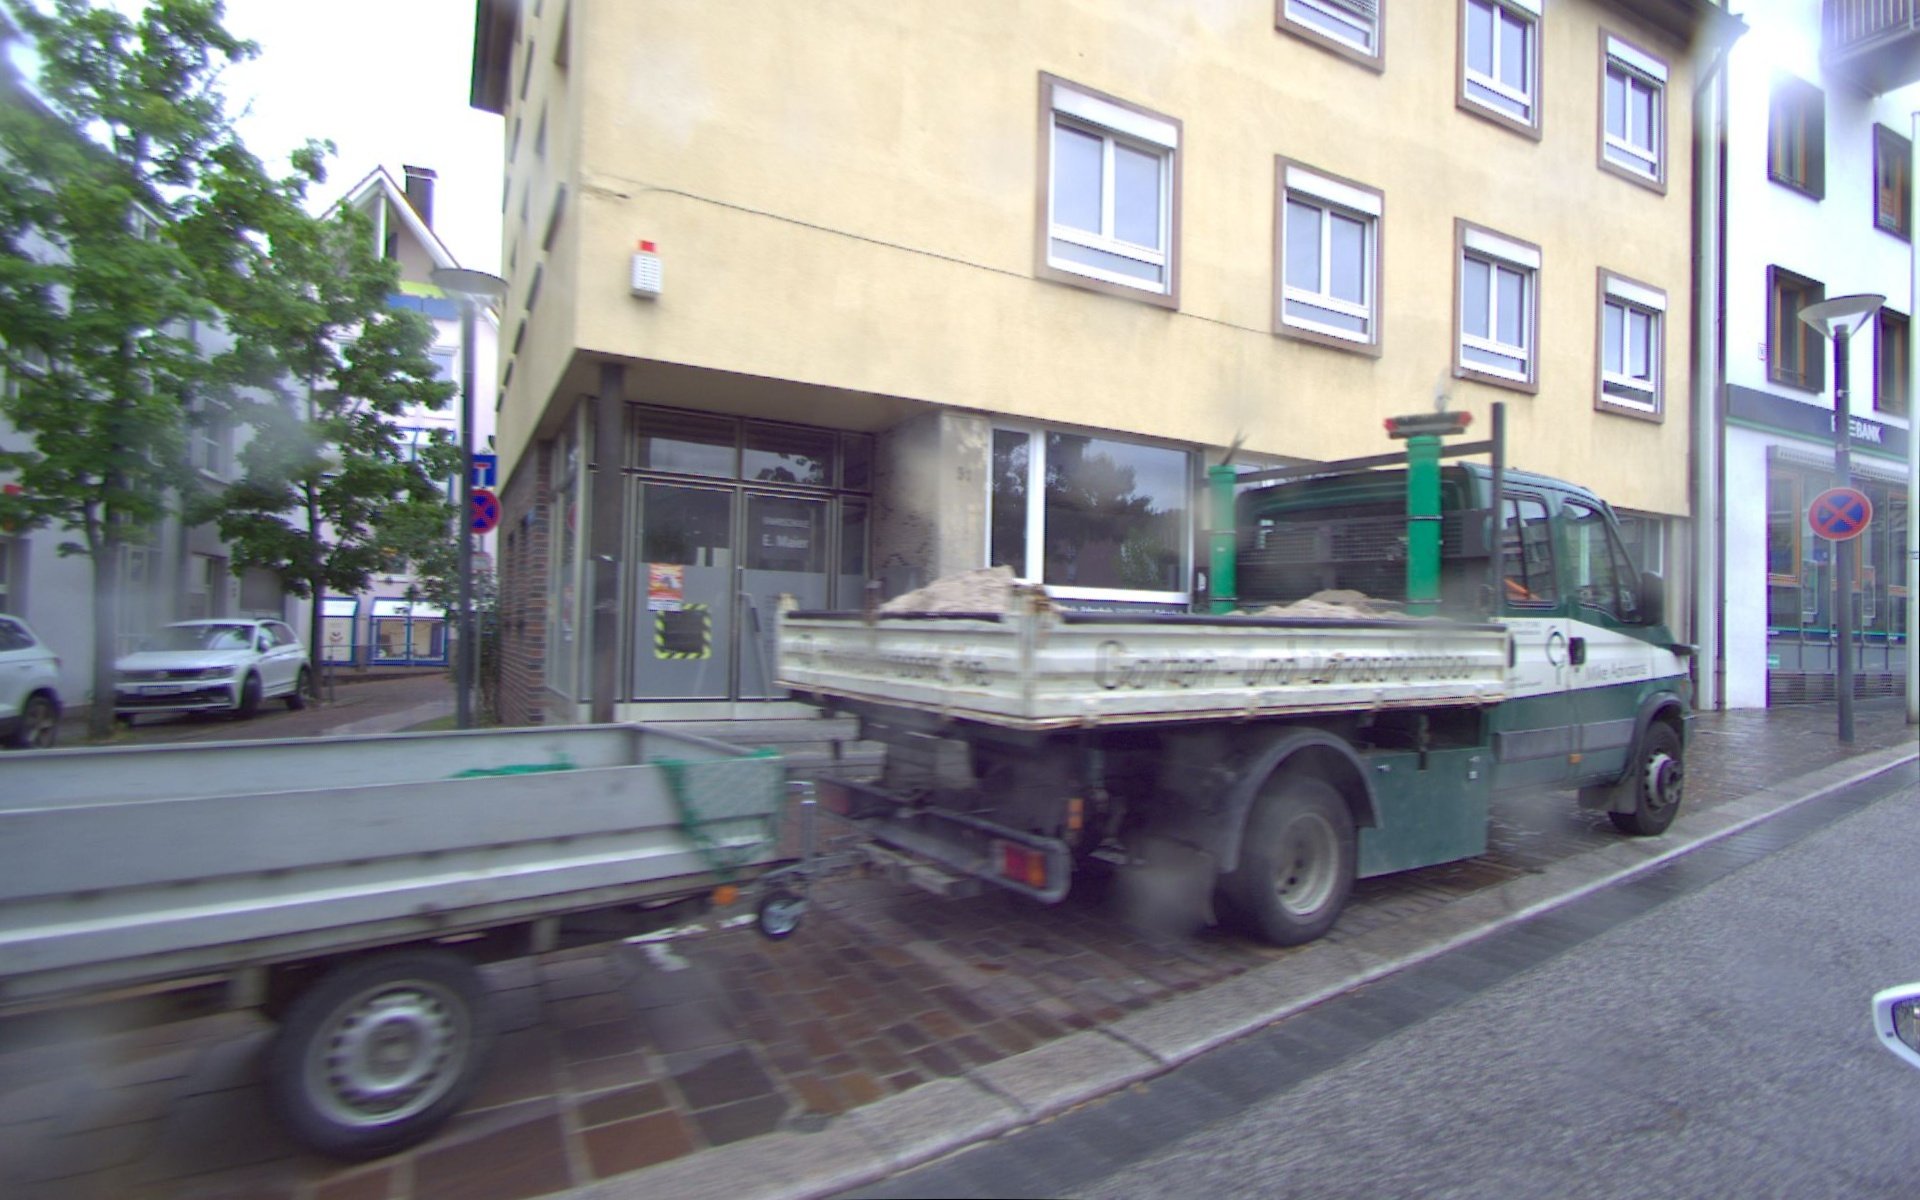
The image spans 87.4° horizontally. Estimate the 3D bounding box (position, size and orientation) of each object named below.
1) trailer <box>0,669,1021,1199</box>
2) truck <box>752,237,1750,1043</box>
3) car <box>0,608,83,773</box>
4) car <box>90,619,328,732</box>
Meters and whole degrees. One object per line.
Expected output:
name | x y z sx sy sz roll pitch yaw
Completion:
trailer | -1.538 0.927 3.329 2.990 1.139 1.840 -2 0 -36
truck | 2.228 0.085 6.137 6.418 2.629 2.383 -2 0 -36
car | -10.197 0.858 9.071 1.826 1.639 4.108 1 -3 -16
car | -12.396 1.201 16.953 1.790 1.639 4.268 1 -3 -16
